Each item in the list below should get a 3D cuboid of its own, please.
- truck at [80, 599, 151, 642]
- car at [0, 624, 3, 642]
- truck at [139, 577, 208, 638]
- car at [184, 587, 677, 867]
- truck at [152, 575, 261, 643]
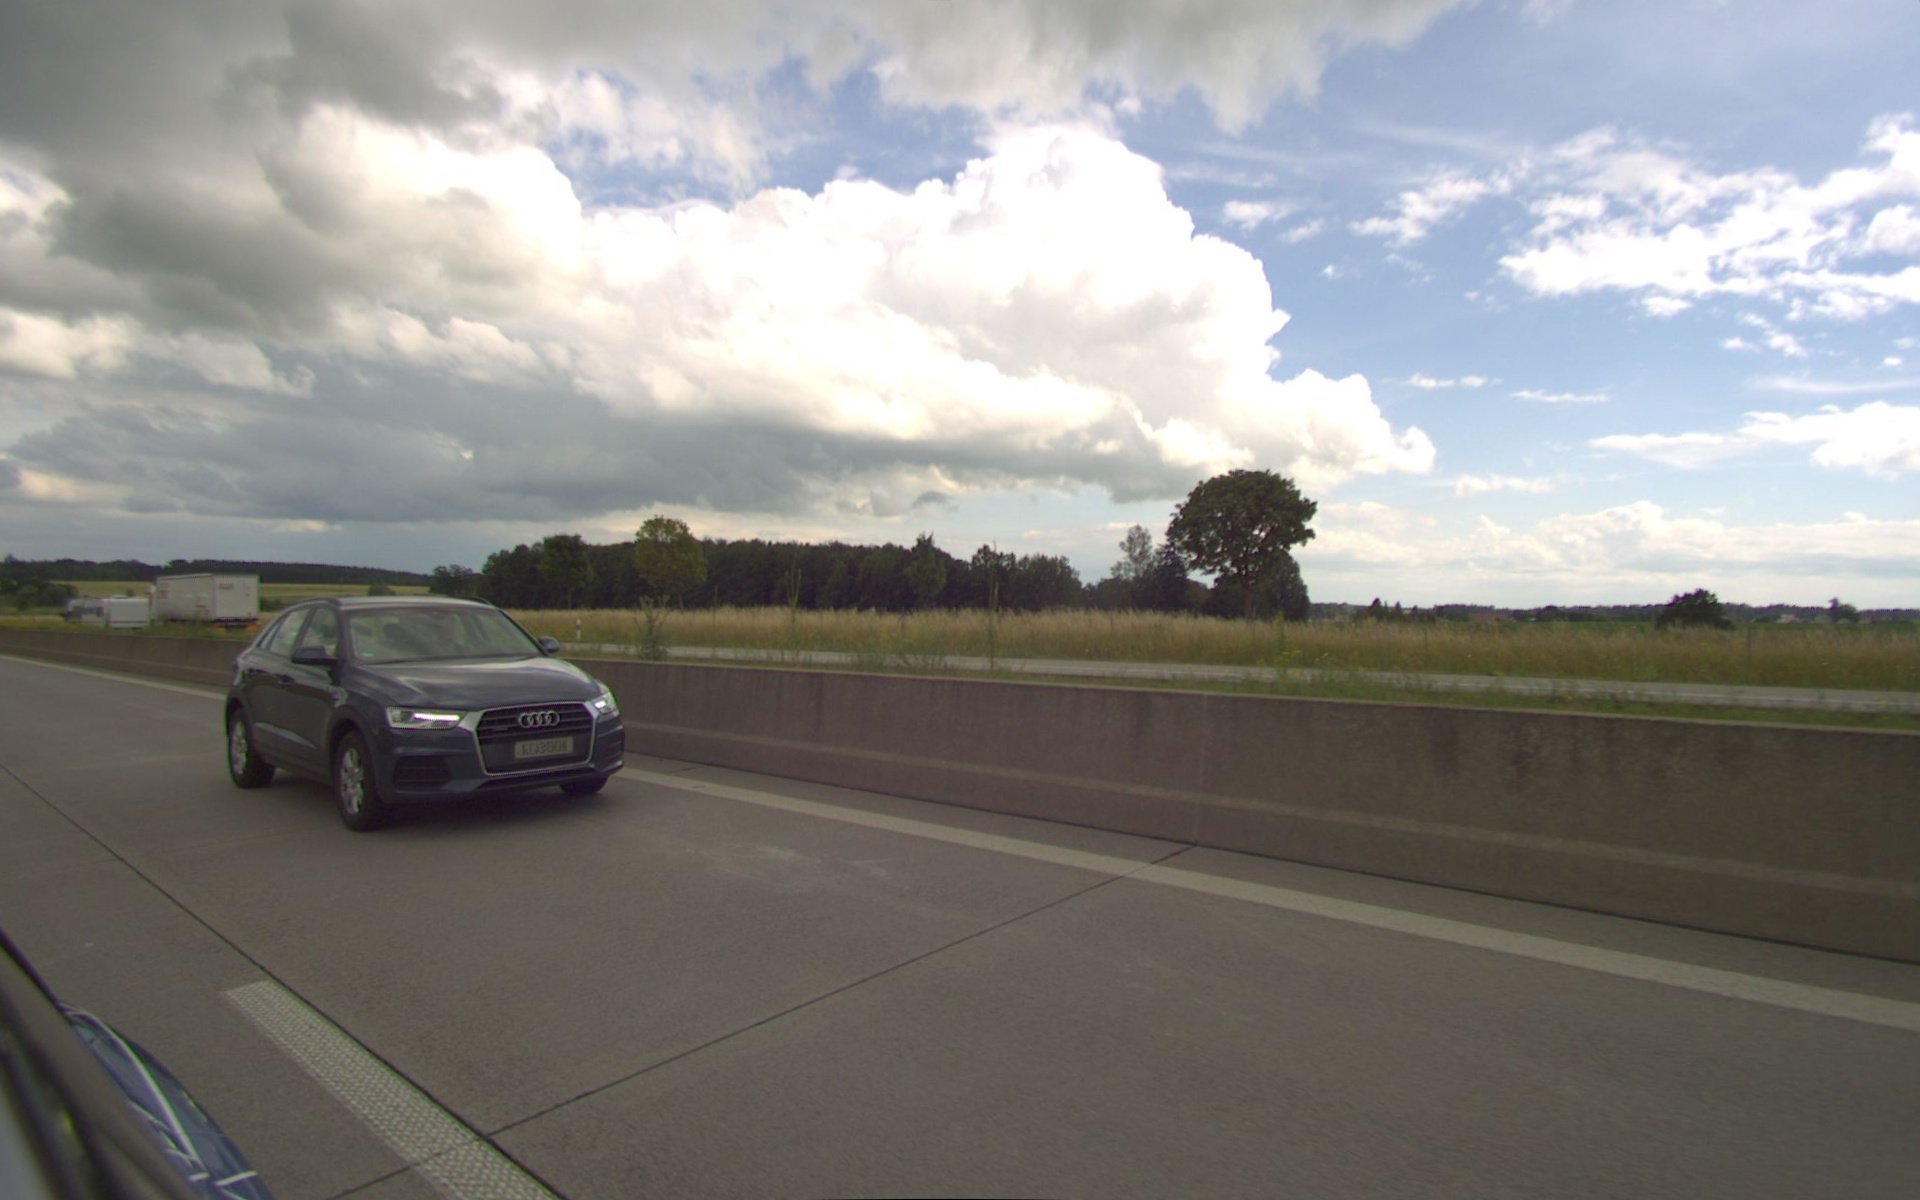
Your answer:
[{"bbox_3d":[-56.848,1.331,68.077,6.915,2.746,2.589,-1,0,41],"label":"truck"},{"bbox_3d":[-81.939,2.804,84.802,4.207,1.493,1.974,-1,-1,39],"label":"car"},{"bbox_3d":[-57.914,0.540,74.480,6.087,4.287,2.812,0,0,40],"label":"truck"},{"bbox_3d":[-4.537,0.756,8.196,5.154,1.608,1.774,-1,0,41],"label":"car"},{"bbox_3d":[-51.675,0.551,69.109,14.557,4.287,2.812,0,0,40],"label":"truck"}]
